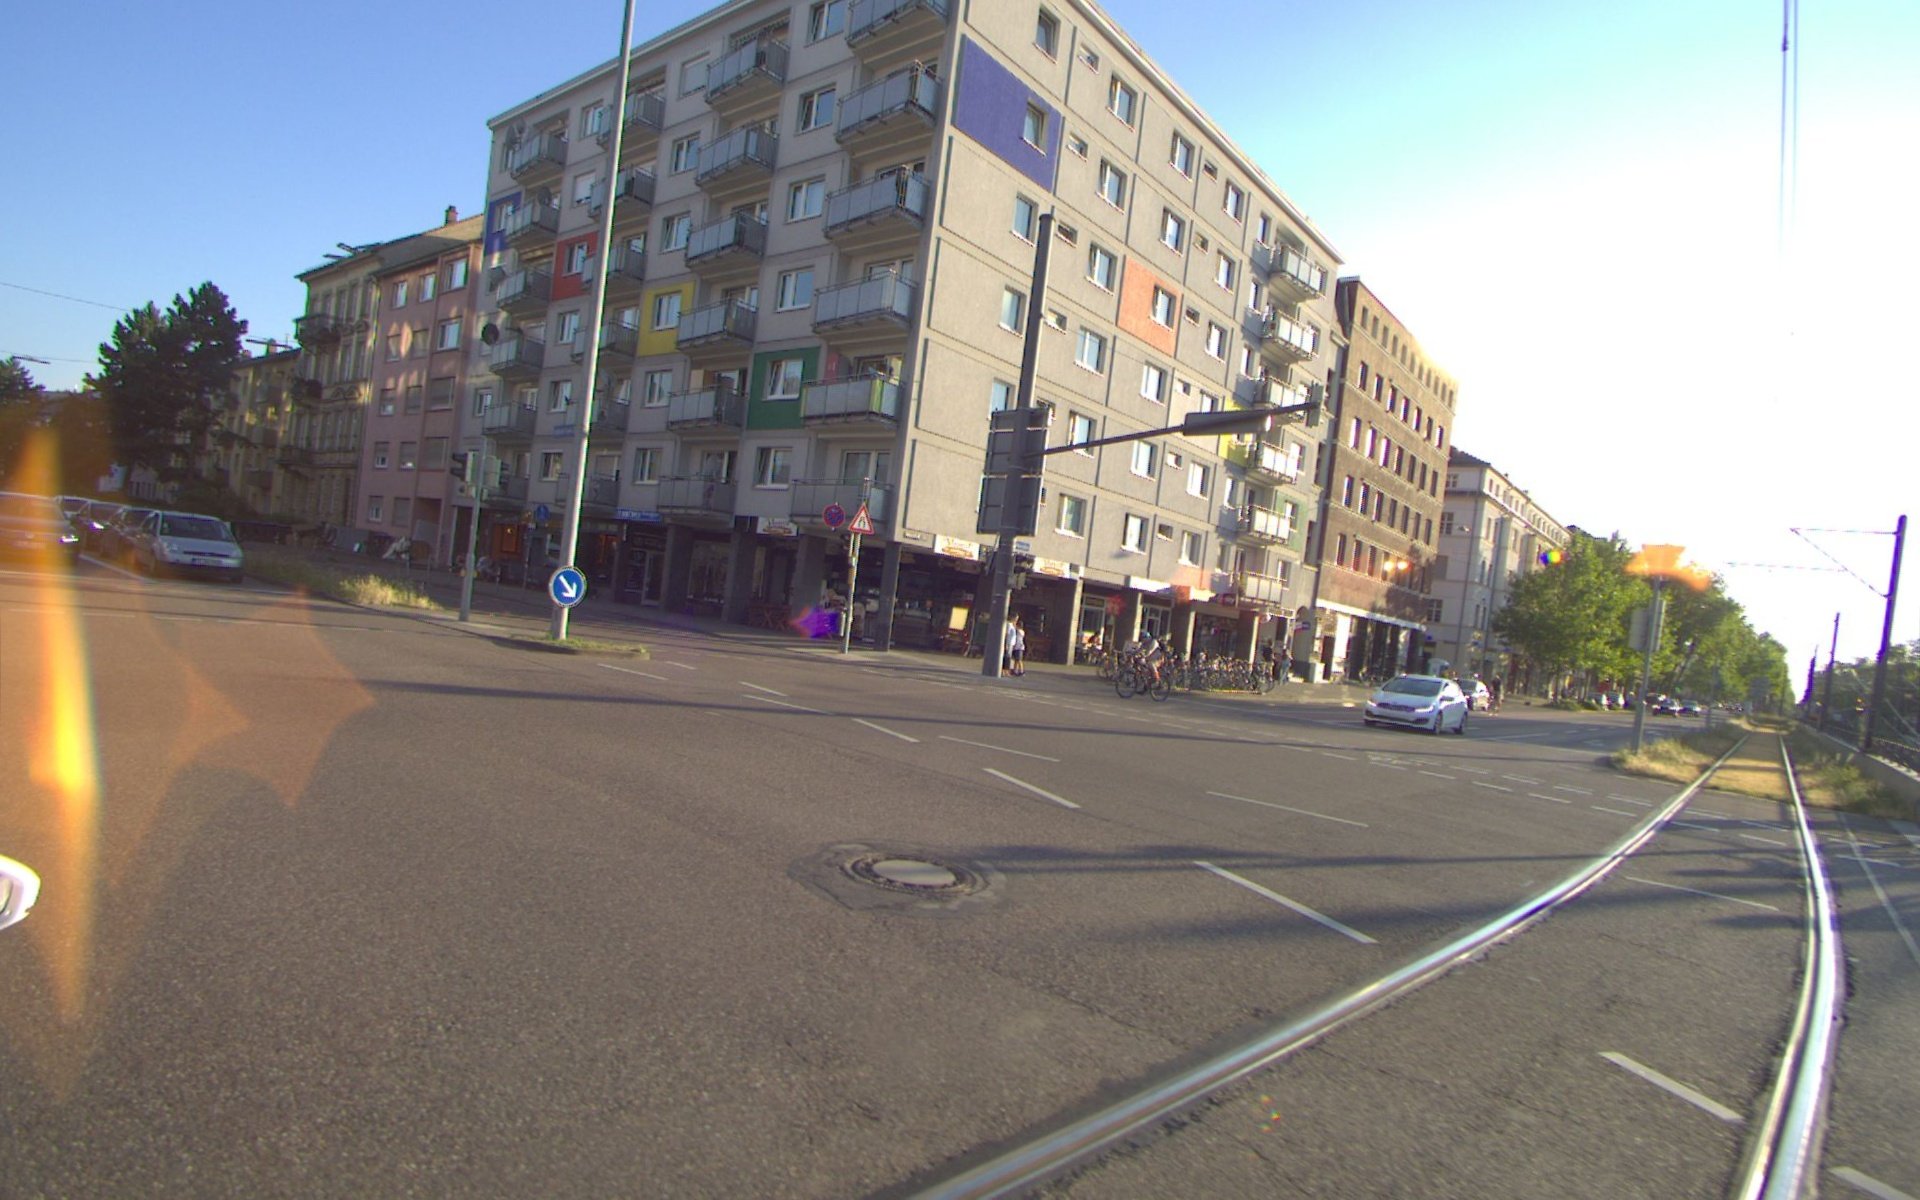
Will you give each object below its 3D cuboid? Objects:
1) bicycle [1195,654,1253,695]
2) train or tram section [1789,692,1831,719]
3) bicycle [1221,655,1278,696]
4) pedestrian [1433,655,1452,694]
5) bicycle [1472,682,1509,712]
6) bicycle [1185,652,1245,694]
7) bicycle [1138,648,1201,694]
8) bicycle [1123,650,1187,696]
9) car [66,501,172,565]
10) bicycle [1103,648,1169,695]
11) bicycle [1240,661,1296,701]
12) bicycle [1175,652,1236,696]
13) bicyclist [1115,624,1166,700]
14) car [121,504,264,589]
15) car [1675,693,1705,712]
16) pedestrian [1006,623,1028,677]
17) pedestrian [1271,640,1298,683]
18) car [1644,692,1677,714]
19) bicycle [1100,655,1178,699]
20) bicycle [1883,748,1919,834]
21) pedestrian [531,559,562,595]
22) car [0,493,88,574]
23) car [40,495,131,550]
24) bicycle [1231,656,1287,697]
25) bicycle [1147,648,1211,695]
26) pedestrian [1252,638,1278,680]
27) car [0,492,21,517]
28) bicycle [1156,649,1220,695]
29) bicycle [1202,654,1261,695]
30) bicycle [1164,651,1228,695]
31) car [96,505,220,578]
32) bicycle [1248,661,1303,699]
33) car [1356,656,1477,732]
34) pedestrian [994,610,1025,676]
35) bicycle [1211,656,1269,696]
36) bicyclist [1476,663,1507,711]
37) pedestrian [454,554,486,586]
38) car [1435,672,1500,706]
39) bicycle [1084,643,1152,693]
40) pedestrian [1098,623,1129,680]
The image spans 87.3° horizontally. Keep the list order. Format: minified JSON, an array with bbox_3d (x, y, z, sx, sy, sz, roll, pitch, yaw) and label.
[{"bbox_3d":[8.918,2.517,34.052,1.735,1.131,0.549,8,1,41],"label":"bicycle"},{"bbox_3d":[150.860,18.651,178.748,4.332,3.898,11.373,7,0,36],"label":"train or tram section"},{"bbox_3d":[10.193,2.661,35.467,1.672,1.167,0.702,8,1,42],"label":"bicycle"},{"bbox_3d":[28.318,4.381,59.015,0.595,2.205,0.788,8,2,40],"label":"pedestrian"},{"bbox_3d":[23.876,4.362,45.288,0.804,1.216,2.400,7,0,42],"label":"bicycle"},{"bbox_3d":[8.505,2.433,33.621,1.752,1.150,0.603,8,1,41],"label":"bicycle"},{"bbox_3d":[6.457,2.179,31.043,1.746,1.182,0.538,8,1,41],"label":"bicycle"},{"bbox_3d":[5.926,2.221,30.702,1.737,1.153,0.597,8,1,41],"label":"bicycle"},{"bbox_3d":[-25.625,-2.066,30.599,3.947,1.504,1.989,7,0,44],"label":"car"},{"bbox_3d":[5.288,2.137,30.280,1.757,1.156,0.605,8,1,40],"label":"bicycle"},{"bbox_3d":[11.197,2.939,36.584,1.672,1.185,0.745,8,1,42],"label":"bicycle"},{"bbox_3d":[8.079,2.432,33.152,1.756,1.173,0.603,8,1,40],"label":"bicycle"},{"bbox_3d":[4.451,1.530,24.823,0.785,1.764,0.696,6,1,-39],"label":"bicyclist"},{"bbox_3d":[-17.852,-1.265,23.343,3.947,1.504,1.989,7,1,44],"label":"car"},{"bbox_3d":[77.947,10.994,107.422,1.973,1.666,3.979,7,0,43],"label":"car"},{"bbox_3d":[1.503,1.319,26.631,0.375,1.401,0.395,7,1,12],"label":"pedestrian"},{"bbox_3d":[14.757,2.798,45.746,0.775,1.865,0.733,7,1,32],"label":"pedestrian"},{"bbox_3d":[64.858,9.524,93.118,1.865,1.764,4.309,7,0,42],"label":"car"},{"bbox_3d":[4.437,1.919,24.878,1.931,0.893,0.698,7,0,-38],"label":"bicycle"},{"bbox_3d":[13.798,2.675,13.361,2.134,1.097,0.538,4,0,28],"label":"bicycle"},{"bbox_3d":[-16.212,-0.897,39.408,0.781,1.272,0.710,8,1,37],"label":"pedestrian"},{"bbox_3d":[-21.121,-1.569,22.517,3.947,1.504,1.989,7,0,44],"label":"car"},{"bbox_3d":[-30.536,-2.718,35.099,3.947,1.504,1.989,7,0,44],"label":"car"},{"bbox_3d":[10.694,2.730,36.014,1.672,1.193,0.745,8,1,42],"label":"bicycle"},{"bbox_3d":[6.843,2.224,31.485,1.749,1.196,0.565,8,1,40],"label":"bicycle"},{"bbox_3d":[14.012,2.725,46.201,0.815,1.835,0.719,7,1,30],"label":"pedestrian"},{"bbox_3d":[-67.542,-6.785,70.534,4.161,1.536,1.990,7,0,41],"label":"car"},{"bbox_3d":[7.249,2.289,31.989,1.768,1.206,0.649,8,1,40],"label":"bicycle"},{"bbox_3d":[9.299,2.556,34.492,1.741,1.133,0.565,8,1,41],"label":"bicycle"},{"bbox_3d":[7.628,2.355,32.618,1.810,1.175,0.637,8,1,41],"label":"bicycle"},{"bbox_3d":[-21.281,-1.571,26.652,3.947,1.504,1.989,7,0,44],"label":"car"},{"bbox_3d":[11.639,2.956,37.167,1.672,1.158,0.693,8,1,42],"label":"bicycle"},{"bbox_3d":[11.968,2.447,26.224,1.671,1.638,3.981,7,0,41],"label":"car"},{"bbox_3d":[1.278,1.112,26.046,0.562,1.640,0.604,7,1,9],"label":"pedestrian"},{"bbox_3d":[9.728,2.644,34.952,1.708,1.138,0.631,8,0,42],"label":"bicycle"},{"bbox_3d":[23.930,3.900,45.289,0.788,2.039,0.919,8,1,42],"label":"bicyclist"},{"bbox_3d":[-20.759,-1.270,42.614,0.779,1.185,0.859,7,1,32],"label":"pedestrian"},{"bbox_3d":[25.938,4.555,51.319,1.801,1.437,3.978,7,0,43],"label":"car"},{"bbox_3d":[4.694,2.017,29.959,1.774,1.223,0.635,8,1,40],"label":"bicycle"},{"bbox_3d":[4.777,1.602,31.318,0.540,1.705,0.577,6,1,-28],"label":"pedestrian"}]
